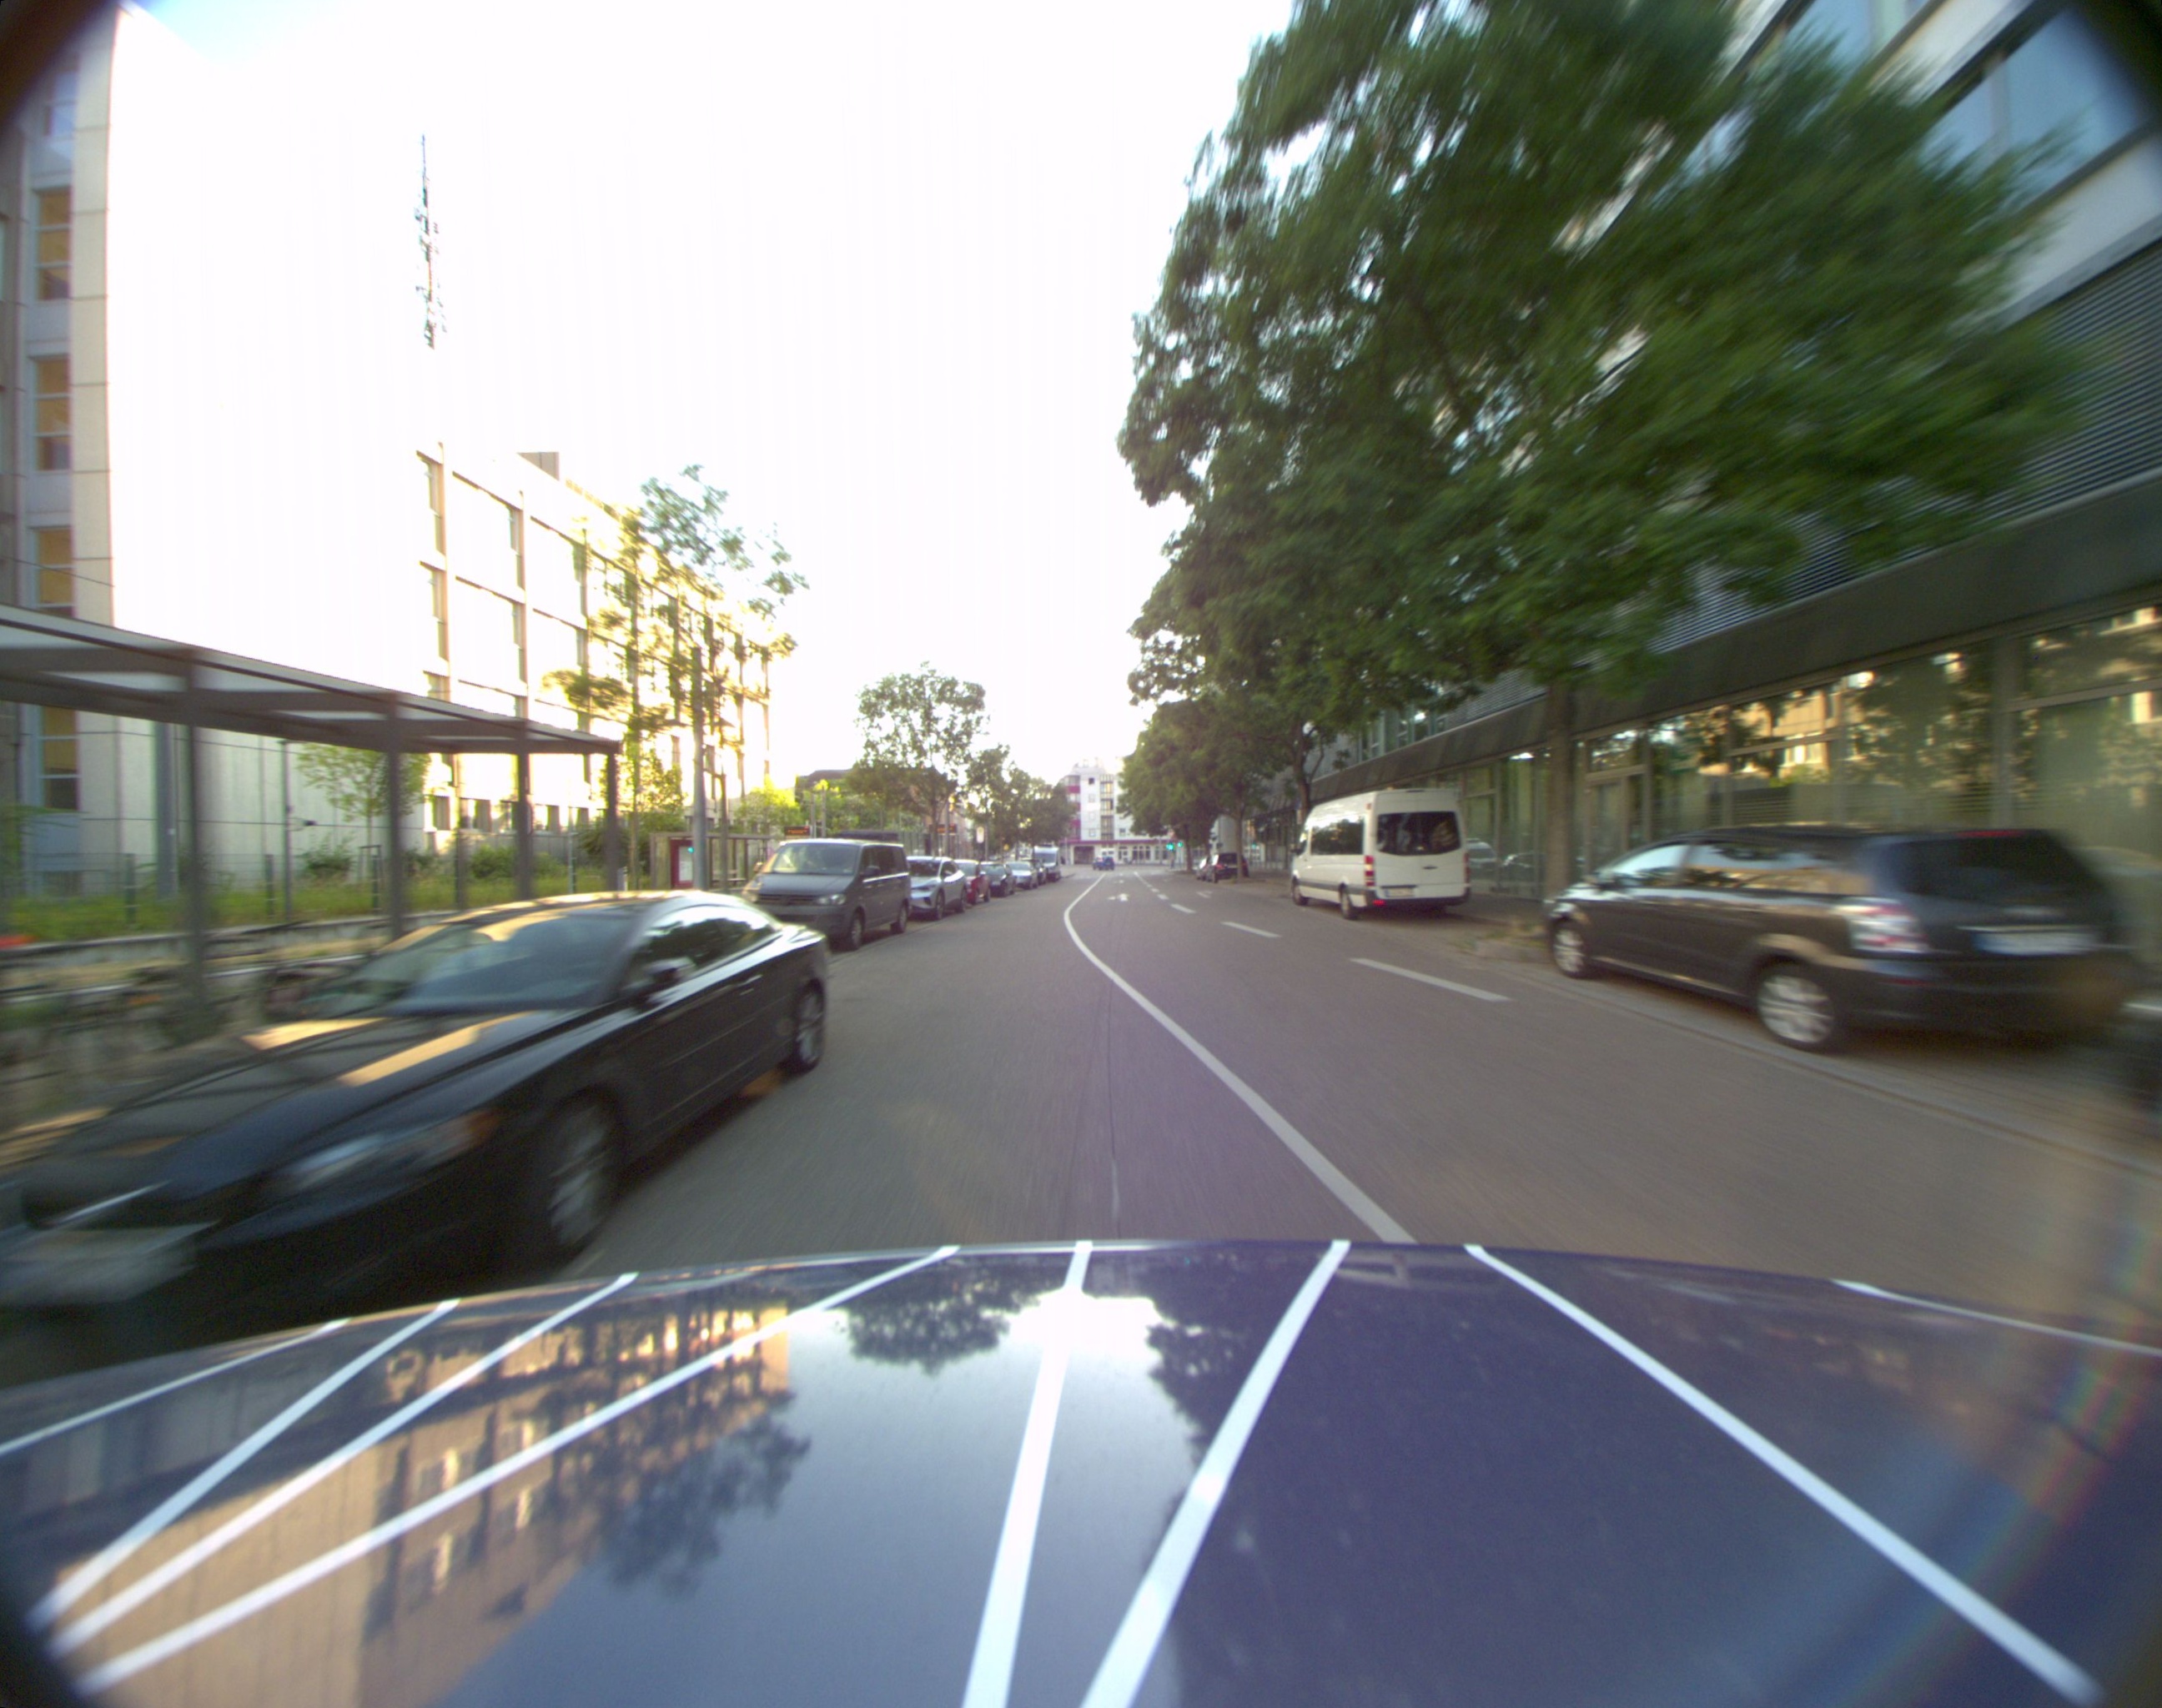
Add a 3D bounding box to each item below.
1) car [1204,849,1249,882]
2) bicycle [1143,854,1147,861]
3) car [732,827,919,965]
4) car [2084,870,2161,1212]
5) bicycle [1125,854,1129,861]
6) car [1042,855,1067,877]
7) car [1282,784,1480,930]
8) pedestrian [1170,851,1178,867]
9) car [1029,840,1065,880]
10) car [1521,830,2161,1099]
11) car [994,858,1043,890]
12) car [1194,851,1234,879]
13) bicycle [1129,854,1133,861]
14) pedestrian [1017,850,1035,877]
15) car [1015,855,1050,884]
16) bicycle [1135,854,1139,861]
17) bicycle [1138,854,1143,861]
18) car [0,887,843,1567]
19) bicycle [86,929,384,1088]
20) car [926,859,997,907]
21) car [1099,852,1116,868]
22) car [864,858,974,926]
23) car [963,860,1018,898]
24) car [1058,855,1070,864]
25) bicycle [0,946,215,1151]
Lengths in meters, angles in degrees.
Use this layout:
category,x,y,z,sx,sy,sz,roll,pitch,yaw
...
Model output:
category,x,y,z,sx,sy,sz,roll,pitch,yaw
car,7.556,0.566,39.689,1.593,1.559,4.472,-4,0,3
bicycle,10.066,0.516,119.253,0.515,1.040,1.903,-1,0,0
car,-4.577,0.652,14.465,1.808,2.164,4.736,1,0,2
car,5.488,0.784,1.292,1.719,1.443,4.398,-1,0,-1
bicycle,7.284,0.550,119.629,0.515,1.040,1.903,-1,0,0
car,-2.082,0.922,60.959,1.752,1.574,4.013,2,0,0
car,6.442,0.047,17.476,2.105,2.648,6.952,-1,0,3
pedestrian,9.731,0.491,79.661,0.545,1.691,0.709,0,1,30
car,-2.355,0.398,53.785,2.056,2.642,5.434,2,0,1
car,5.890,0.648,6.573,1.848,1.562,4.268,-1,0,3
car,-3.225,1.000,40.034,1.800,1.487,4.782,2,0,4
car,7.811,0.623,45.060,1.707,1.453,4.627,-4,0,3
bicycle,7.924,0.536,119.587,0.515,1.040,1.903,-1,0,0
pedestrian,-4.060,0.695,56.306,0.981,2.002,0.805,-1,1,-42
car,-2.949,0.912,46.679,1.711,1.634,4.267,1,0,2
bicycle,8.777,0.554,119.635,0.515,1.040,1.903,-1,0,0
bicycle,9.373,0.499,119.579,0.515,1.040,1.903,-1,0,0
car,-2.898,1.014,4.093,1.792,1.443,4.515,-1,0,0
bicycle,-6.116,1.097,5.526,1.723,1.060,0.421,0,2,2
car,-4.131,0.966,26.908,1.711,1.484,4.131,1,0,2
car,3.052,0.669,86.425,1.752,1.668,4.274,-2,0,3
car,-4.242,0.923,20.577,1.711,1.571,4.480,1,0,4
car,-3.766,1.008,32.354,1.711,1.443,4.000,1,0,2
car,-2.999,0.887,130.186,2.006,1.448,4.296,-1,0,-2
bicycle,-6.217,1.097,4.425,1.810,1.060,0.487,0,2,2
